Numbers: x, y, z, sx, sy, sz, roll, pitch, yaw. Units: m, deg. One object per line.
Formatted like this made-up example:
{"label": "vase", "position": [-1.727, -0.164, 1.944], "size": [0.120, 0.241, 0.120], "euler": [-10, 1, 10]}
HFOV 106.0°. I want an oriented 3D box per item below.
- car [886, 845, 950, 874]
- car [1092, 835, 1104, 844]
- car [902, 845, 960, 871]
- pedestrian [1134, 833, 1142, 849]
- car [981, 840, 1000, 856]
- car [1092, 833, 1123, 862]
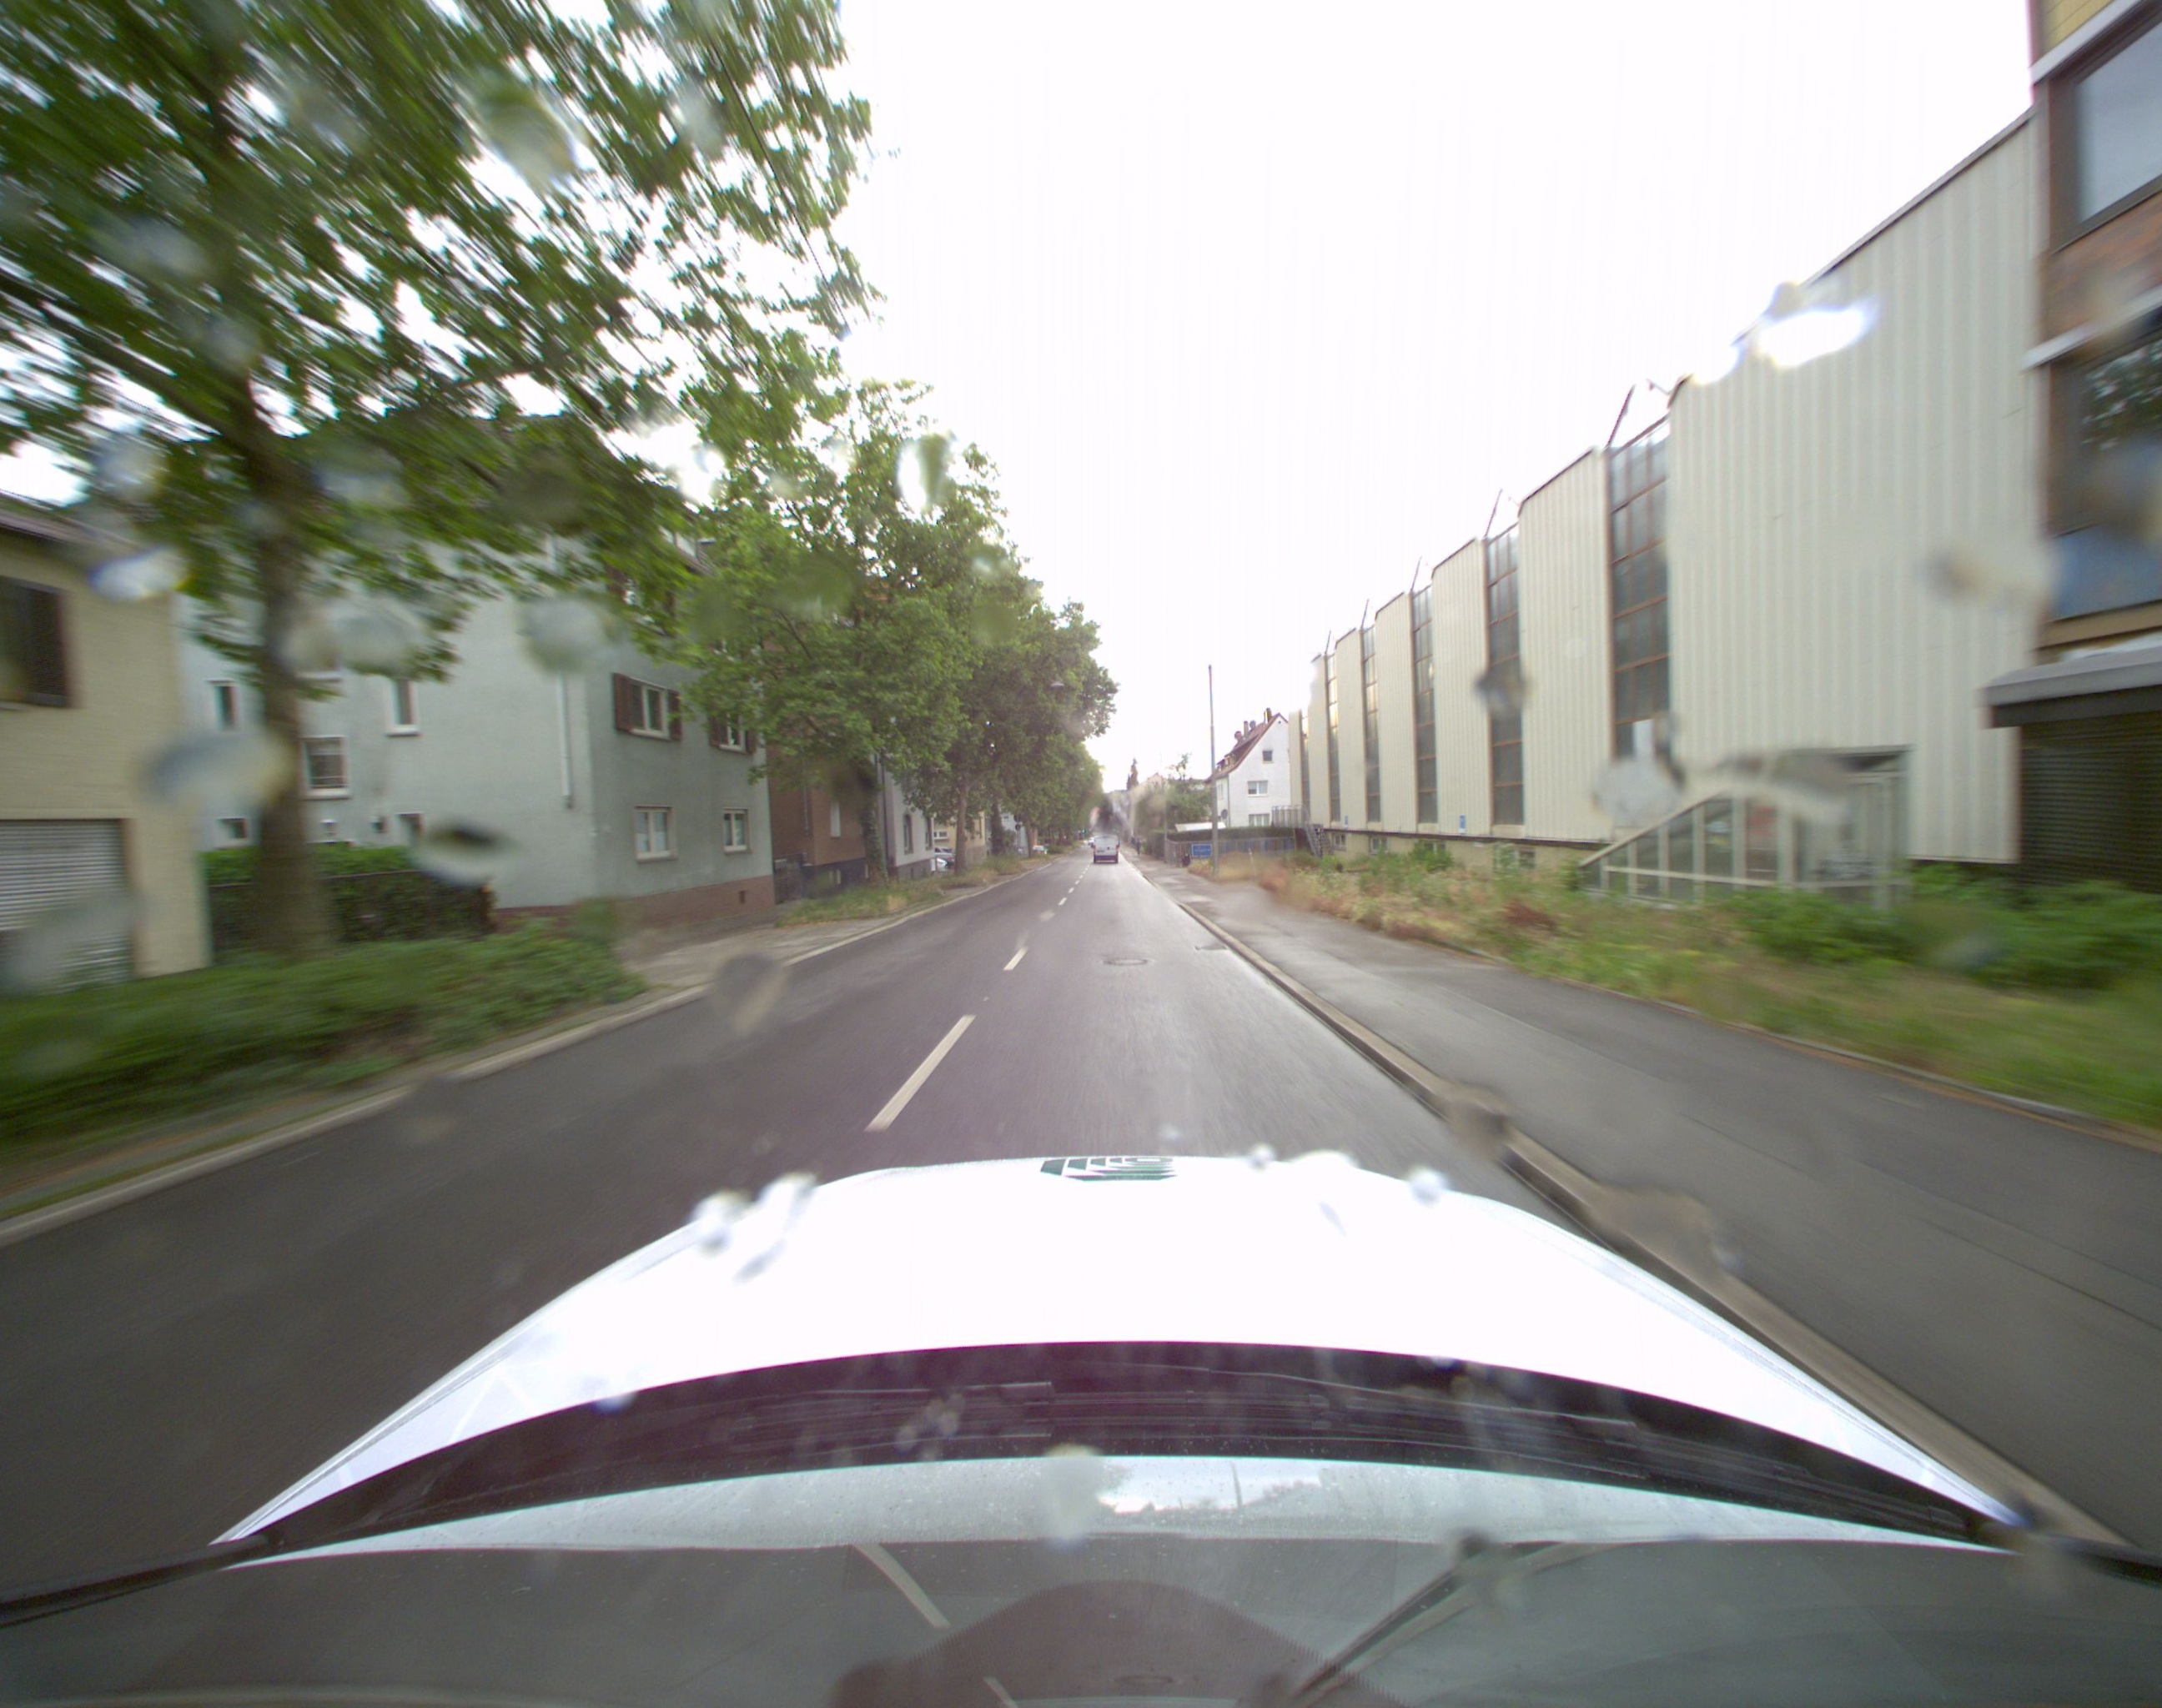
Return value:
{"label": "car", "position": [-11.846, 0.375, 59.503], "size": [4.182, 1.891, 2.000], "euler": [-2, 1, 0]}
{"label": "car", "position": [3.632, -3.057, 172.887], "size": [1.982, 1.709, 4.271], "euler": [-2, 0, 9]}
{"label": "car", "position": [-12.005, 0.314, 65.396], "size": [4.182, 1.891, 2.000], "euler": [-2, 1, 0]}
{"label": "pedestrian", "position": [6.270, -1.423, 89.134], "size": [0.811, 1.698, 0.731], "euler": [-2, 0, 7]}
{"label": "car", "position": [-12.085, -0.828, 109.257], "size": [1.868, 1.894, 4.002], "euler": [-2, 2, 1]}
{"label": "car", "position": [2.131, -0.612, 67.711], "size": [2.339, 2.160, 4.778], "euler": [-3, 2, 0]}
